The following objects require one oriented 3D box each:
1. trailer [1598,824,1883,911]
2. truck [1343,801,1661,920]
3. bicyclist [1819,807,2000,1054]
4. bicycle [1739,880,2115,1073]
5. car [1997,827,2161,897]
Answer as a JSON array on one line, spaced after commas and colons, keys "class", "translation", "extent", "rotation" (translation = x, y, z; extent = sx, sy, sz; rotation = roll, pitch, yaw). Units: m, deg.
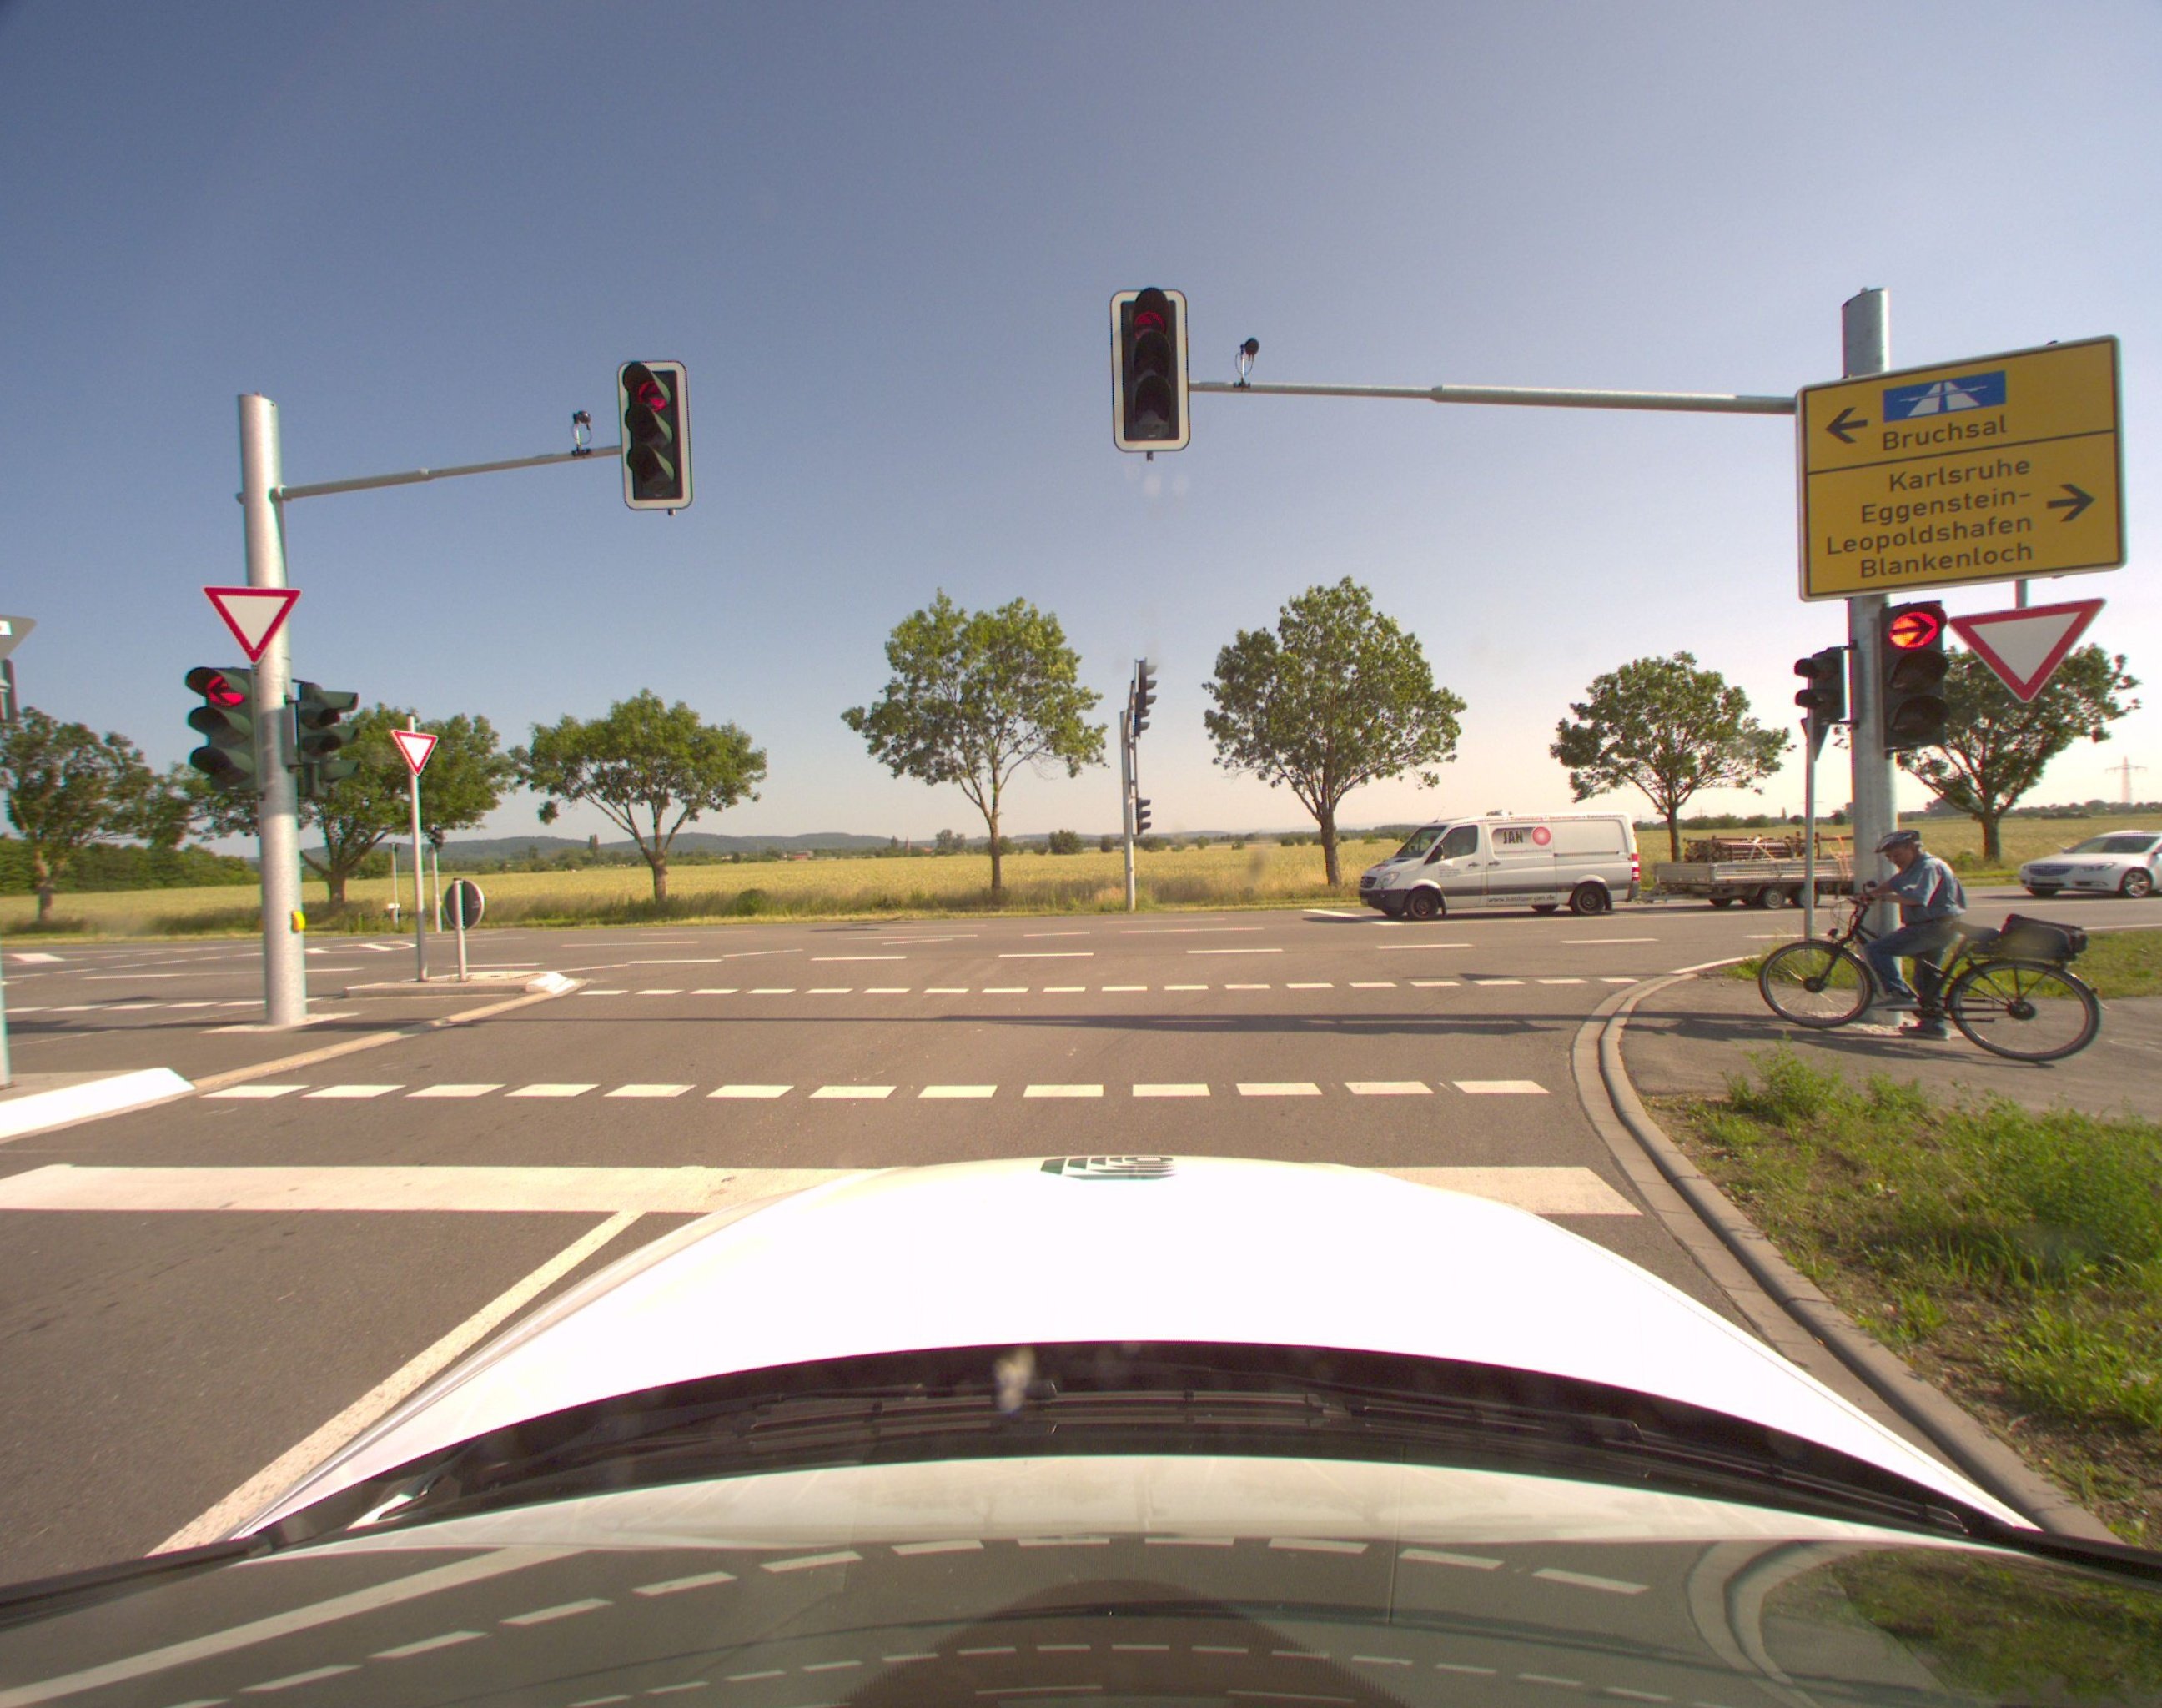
[{"class": "trailer", "translation": [15.034, 0.311, 18.775], "extent": [4.980, 1.738, 1.980], "rotation": [-2, -1, -1]}, {"class": "truck", "translation": [9.448, 0.156, 18.691], "extent": [6.156, 2.405, 2.072], "rotation": [-2, -1, 1]}, {"class": "bicyclist", "translation": [6.415, 0.532, 6.342], "extent": [0.623, 1.765, 0.906], "rotation": [0, 1, -44]}, {"class": "bicycle", "translation": [6.407, 0.843, 6.324], "extent": [0.685, 1.151, 1.922], "rotation": [0, 2, -44]}, {"class": "car", "translation": [24.600, 0.130, 18.990], "extent": [4.682, 1.492, 1.763], "rotation": [-2, -1, -3]}]
